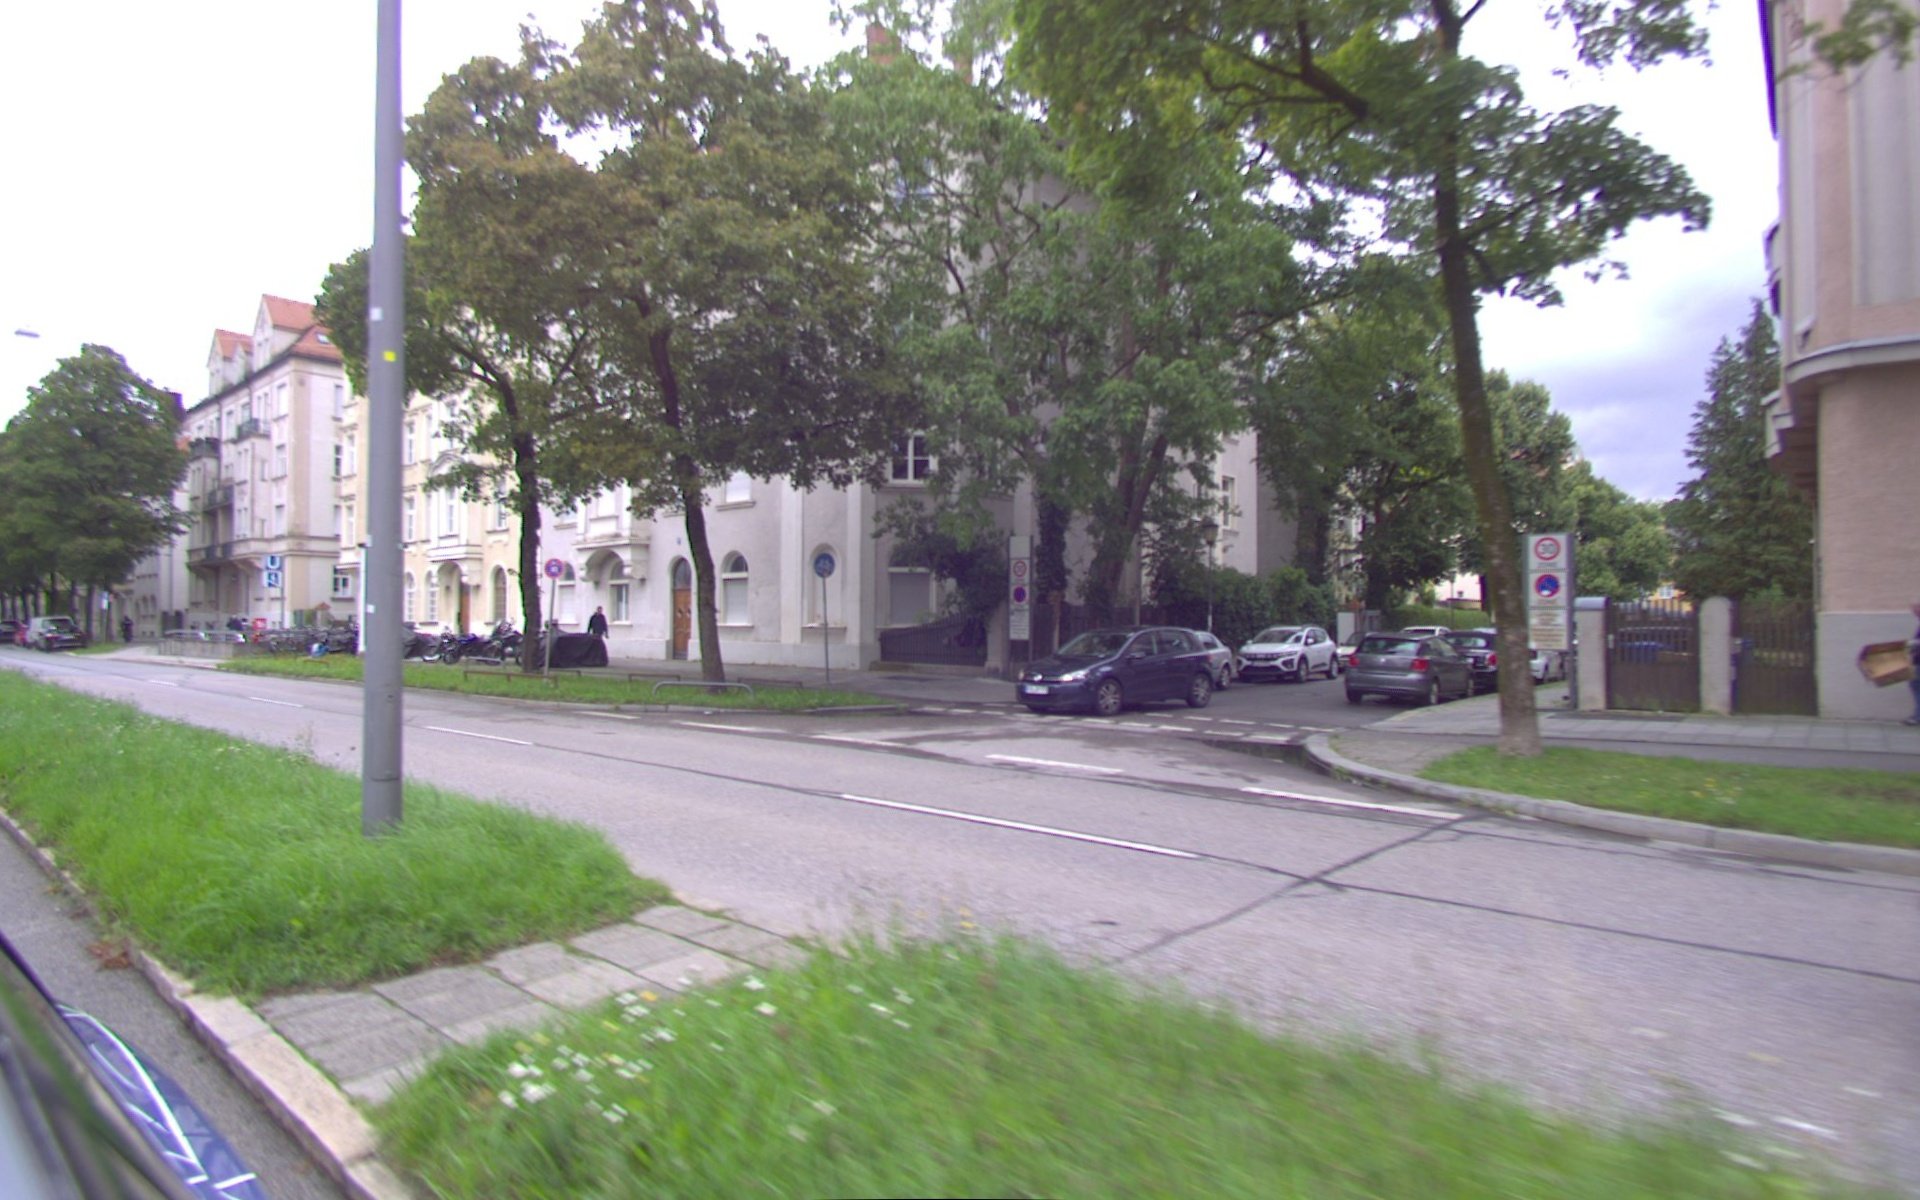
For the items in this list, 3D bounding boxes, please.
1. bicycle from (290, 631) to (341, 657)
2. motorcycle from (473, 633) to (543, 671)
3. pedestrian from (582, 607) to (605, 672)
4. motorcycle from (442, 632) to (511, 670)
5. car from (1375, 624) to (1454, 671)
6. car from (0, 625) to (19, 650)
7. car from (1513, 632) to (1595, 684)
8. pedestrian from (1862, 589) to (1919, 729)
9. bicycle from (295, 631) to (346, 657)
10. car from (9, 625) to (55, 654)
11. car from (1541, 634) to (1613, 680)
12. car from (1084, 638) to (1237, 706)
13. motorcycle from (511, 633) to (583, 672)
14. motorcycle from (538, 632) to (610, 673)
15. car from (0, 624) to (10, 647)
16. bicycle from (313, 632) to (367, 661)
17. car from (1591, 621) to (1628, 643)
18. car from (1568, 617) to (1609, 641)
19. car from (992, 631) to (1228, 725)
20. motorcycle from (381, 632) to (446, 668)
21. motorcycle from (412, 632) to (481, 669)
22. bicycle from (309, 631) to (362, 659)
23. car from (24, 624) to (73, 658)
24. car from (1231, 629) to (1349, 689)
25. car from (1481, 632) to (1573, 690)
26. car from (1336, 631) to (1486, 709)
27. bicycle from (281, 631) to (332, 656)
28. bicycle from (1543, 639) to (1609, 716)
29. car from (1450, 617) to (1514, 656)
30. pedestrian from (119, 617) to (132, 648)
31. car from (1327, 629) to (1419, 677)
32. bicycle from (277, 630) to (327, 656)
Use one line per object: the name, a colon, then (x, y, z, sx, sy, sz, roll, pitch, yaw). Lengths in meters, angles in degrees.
bicycle: (-29.496, 2.000, 46.372, 1.924, 1.158, 0.598, 0, -2, -28)
motorcycle: (-14.130, 1.609, 31.674, 1.926, 1.158, 0.597, 0, -1, -11)
pedestrian: (-11.909, 1.269, 32.883, 0.590, 2.075, 0.686, 1, -2, -30)
motorcycle: (-15.490, 1.632, 32.460, 1.926, 1.158, 0.597, 0, -1, -11)
car: (17.391, 1.761, 38.629, 1.793, 1.660, 3.947, -1, -2, 39)
car: (-71.060, 2.755, 74.754, 3.998, 1.852, 1.848, -2, -2, 41)
car: (18.244, 1.728, 31.020, 1.653, 1.461, 3.481, -1, -2, 39)
pedestrian: (12.137, 0.733, 12.761, 1.082, 1.723, 0.740, -2, -2, 41)
bicycle: (-28.953, 1.987, 45.861, 1.924, 1.158, 0.598, 0, -2, -28)
car: (-62.550, 2.637, 68.219, 3.998, 1.852, 1.848, -2, -2, 41)
car: (21.269, 1.924, 34.830, 1.653, 1.461, 3.481, -1, -2, 39)
car: (4.639, 1.581, 23.089, 1.793, 1.332, 3.947, -1, -2, 39)
motorcycle: (-12.507, 1.588, 30.687, 1.926, 1.158, 0.597, 0, -1, -11)
motorcycle: (-11.334, 1.543, 29.764, 1.926, 1.158, 0.597, 0, -1, -11)
car: (-77.454, 2.847, 80.837, 3.998, 1.852, 1.848, -2, -2, 41)
bicycle: (-26.278, 1.958, 42.949, 1.924, 1.158, 0.598, 0, -2, -28)
car: (46.702, 2.276, 72.692, 1.793, 1.496, 3.947, -1, -2, 39)
car: (40.745, 1.848, 65.584, 1.793, 1.496, 3.947, -1, -2, 39)
car: (2.657, 1.271, 17.497, 3.937, 1.386, 1.865, 0, -3, -40)
motorcycle: (-18.504, 1.673, 34.303, 1.924, 1.158, 0.598, 0, -2, -28)
motorcycle: (-16.805, 1.642, 33.154, 1.926, 1.158, 0.597, 0, -1, -11)
bicycle: (-27.234, 1.962, 44.154, 1.924, 1.158, 0.598, 0, -2, -28)
car: (-55.967, 2.498, 62.093, 3.998, 2.029, 1.767, -2, -2, 41)
car: (9.173, 1.557, 27.923, 1.793, 1.496, 3.947, -1, -2, 39)
car: (15.609, 1.617, 27.798, 1.612, 1.461, 3.481, -1, -2, 39)
car: (9.271, 1.353, 20.667, 1.910, 1.382, 3.660, -1, -2, 39)
bicycle: (-30.266, 2.008, 46.892, 1.924, 1.158, 0.598, 0, -2, -28)
bicycle: (11.012, 1.320, 18.030, 0.518, 1.185, 3.513, -2, -2, 39)
car: (23.740, 1.627, 45.989, 1.793, 1.660, 3.947, -1, -2, 39)
pedestrian: (-55.004, 2.151, 66.731, 0.631, 2.058, 0.739, 1, -2, -38)
car: (14.079, 1.766, 34.402, 1.793, 1.496, 3.947, -1, -2, 39)
bicycle: (-30.922, 2.020, 47.595, 1.924, 1.158, 0.598, 0, -2, -28)
